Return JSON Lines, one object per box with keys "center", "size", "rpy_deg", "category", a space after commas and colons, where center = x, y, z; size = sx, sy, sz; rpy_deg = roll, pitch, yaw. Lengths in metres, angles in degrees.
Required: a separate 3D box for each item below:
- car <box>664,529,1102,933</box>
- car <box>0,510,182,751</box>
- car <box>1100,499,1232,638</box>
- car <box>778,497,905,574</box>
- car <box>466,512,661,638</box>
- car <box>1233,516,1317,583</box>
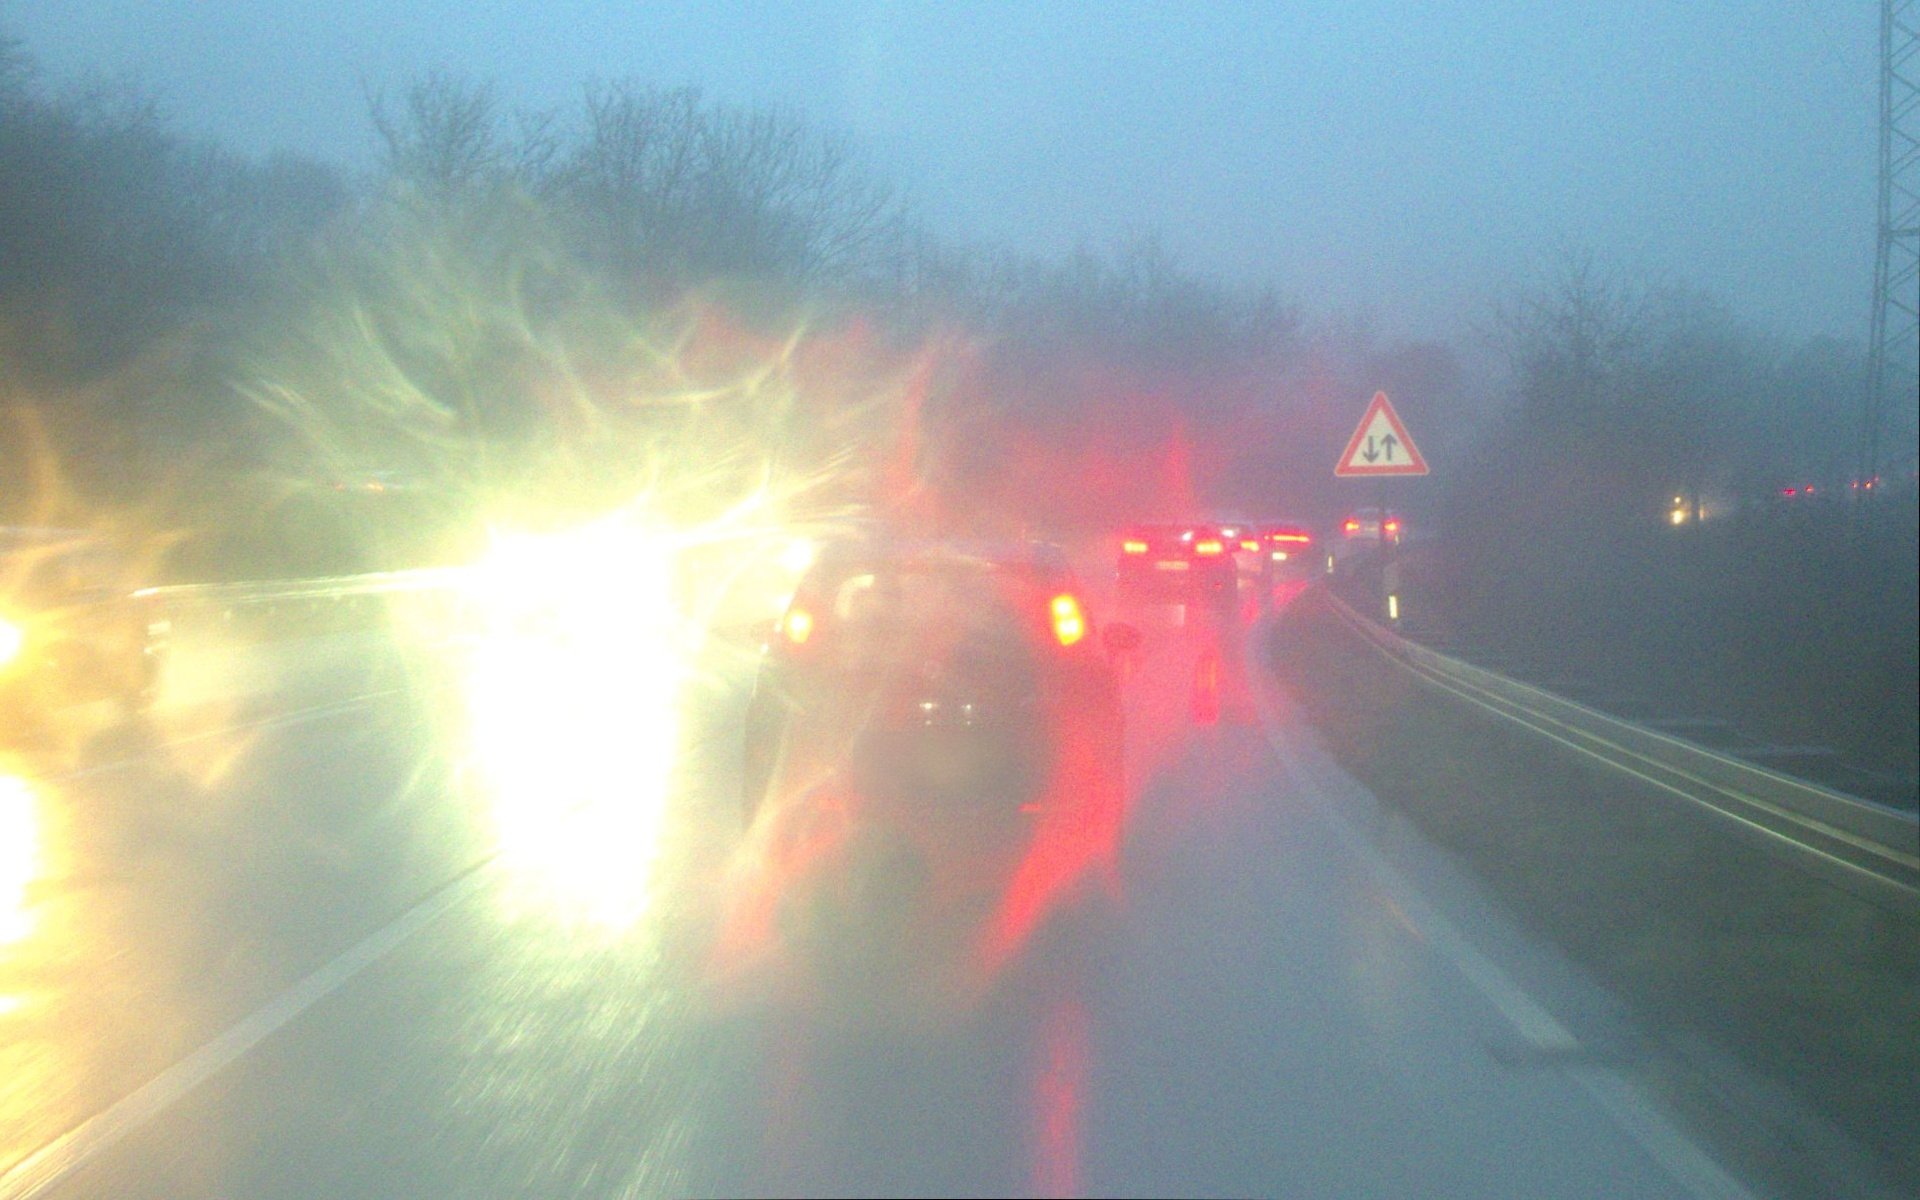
{"center": [-0.332, 0.503, 16.316], "size": [1.730, 1.527, 4.043], "rpy_deg": [-4, 2, 0], "category": "car"}
{"center": [-6.947, 0.154, 24.102], "size": [1.636, 1.467, 4.449], "rpy_deg": [3, 2, 4], "category": "car"}
{"center": [3.286, -0.535, 54.197], "size": [1.946, 2.006, 4.000], "rpy_deg": [-2, 2, 5], "category": "car"}
{"center": [-2.380, -1.315, 69.967], "size": [1.994, 1.485, 4.381], "rpy_deg": [1, 1, 6], "category": "car"}
{"center": [-5.278, -0.364, 46.333], "size": [1.888, 1.584, 4.382], "rpy_deg": [1, 1, 3], "category": "car"}
{"center": [8.483, -1.354, 92.396], "size": [1.947, 1.739, 3.998], "rpy_deg": [0, 1, 10], "category": "car"}
